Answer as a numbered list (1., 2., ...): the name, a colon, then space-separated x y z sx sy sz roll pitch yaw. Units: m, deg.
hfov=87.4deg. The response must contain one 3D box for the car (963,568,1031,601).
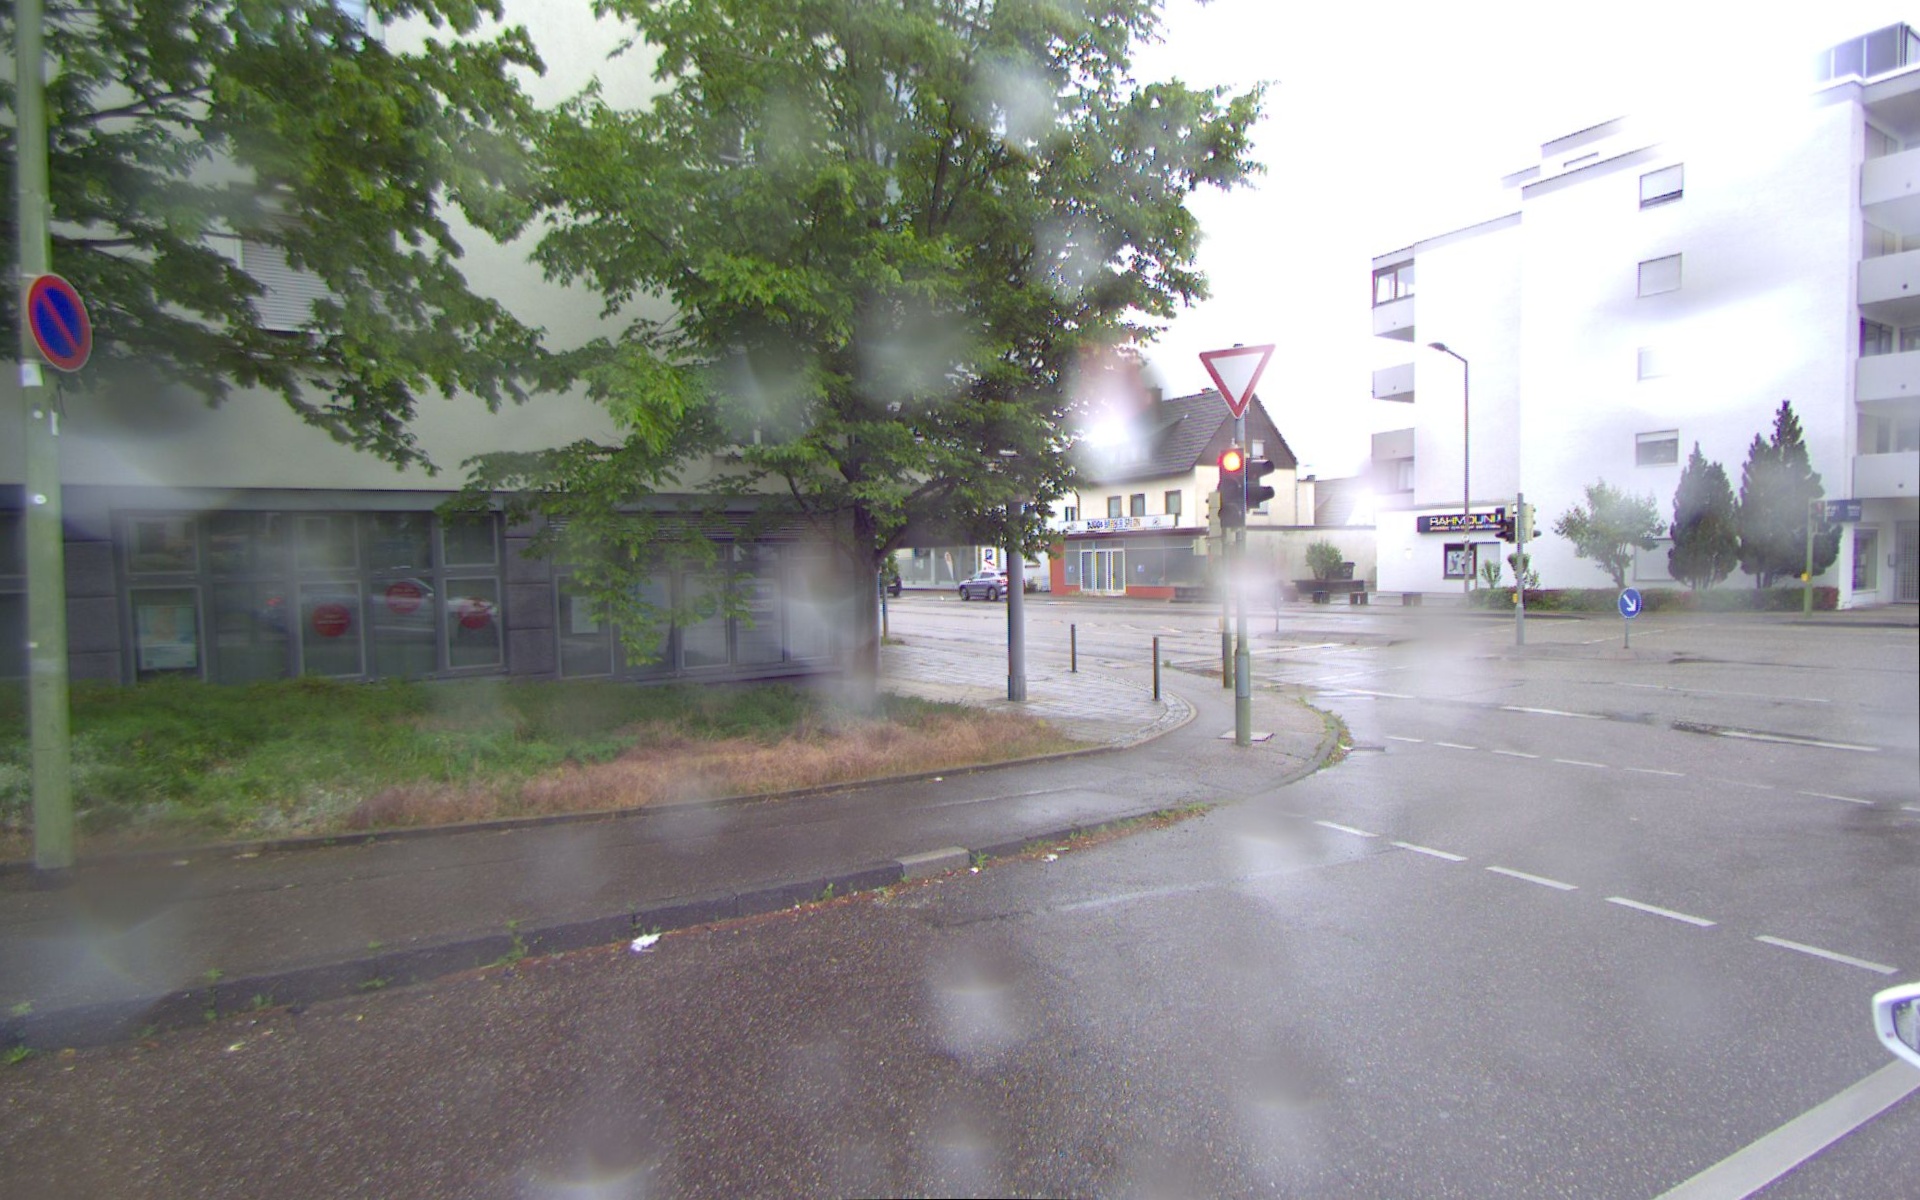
1. car: 2.009 -0.883 55.905 1.976 1.718 3.968 -1 3 -30

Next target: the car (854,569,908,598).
1. car: -5.260 -1.136 66.536 2.087 1.719 3.968 -1 4 -30
